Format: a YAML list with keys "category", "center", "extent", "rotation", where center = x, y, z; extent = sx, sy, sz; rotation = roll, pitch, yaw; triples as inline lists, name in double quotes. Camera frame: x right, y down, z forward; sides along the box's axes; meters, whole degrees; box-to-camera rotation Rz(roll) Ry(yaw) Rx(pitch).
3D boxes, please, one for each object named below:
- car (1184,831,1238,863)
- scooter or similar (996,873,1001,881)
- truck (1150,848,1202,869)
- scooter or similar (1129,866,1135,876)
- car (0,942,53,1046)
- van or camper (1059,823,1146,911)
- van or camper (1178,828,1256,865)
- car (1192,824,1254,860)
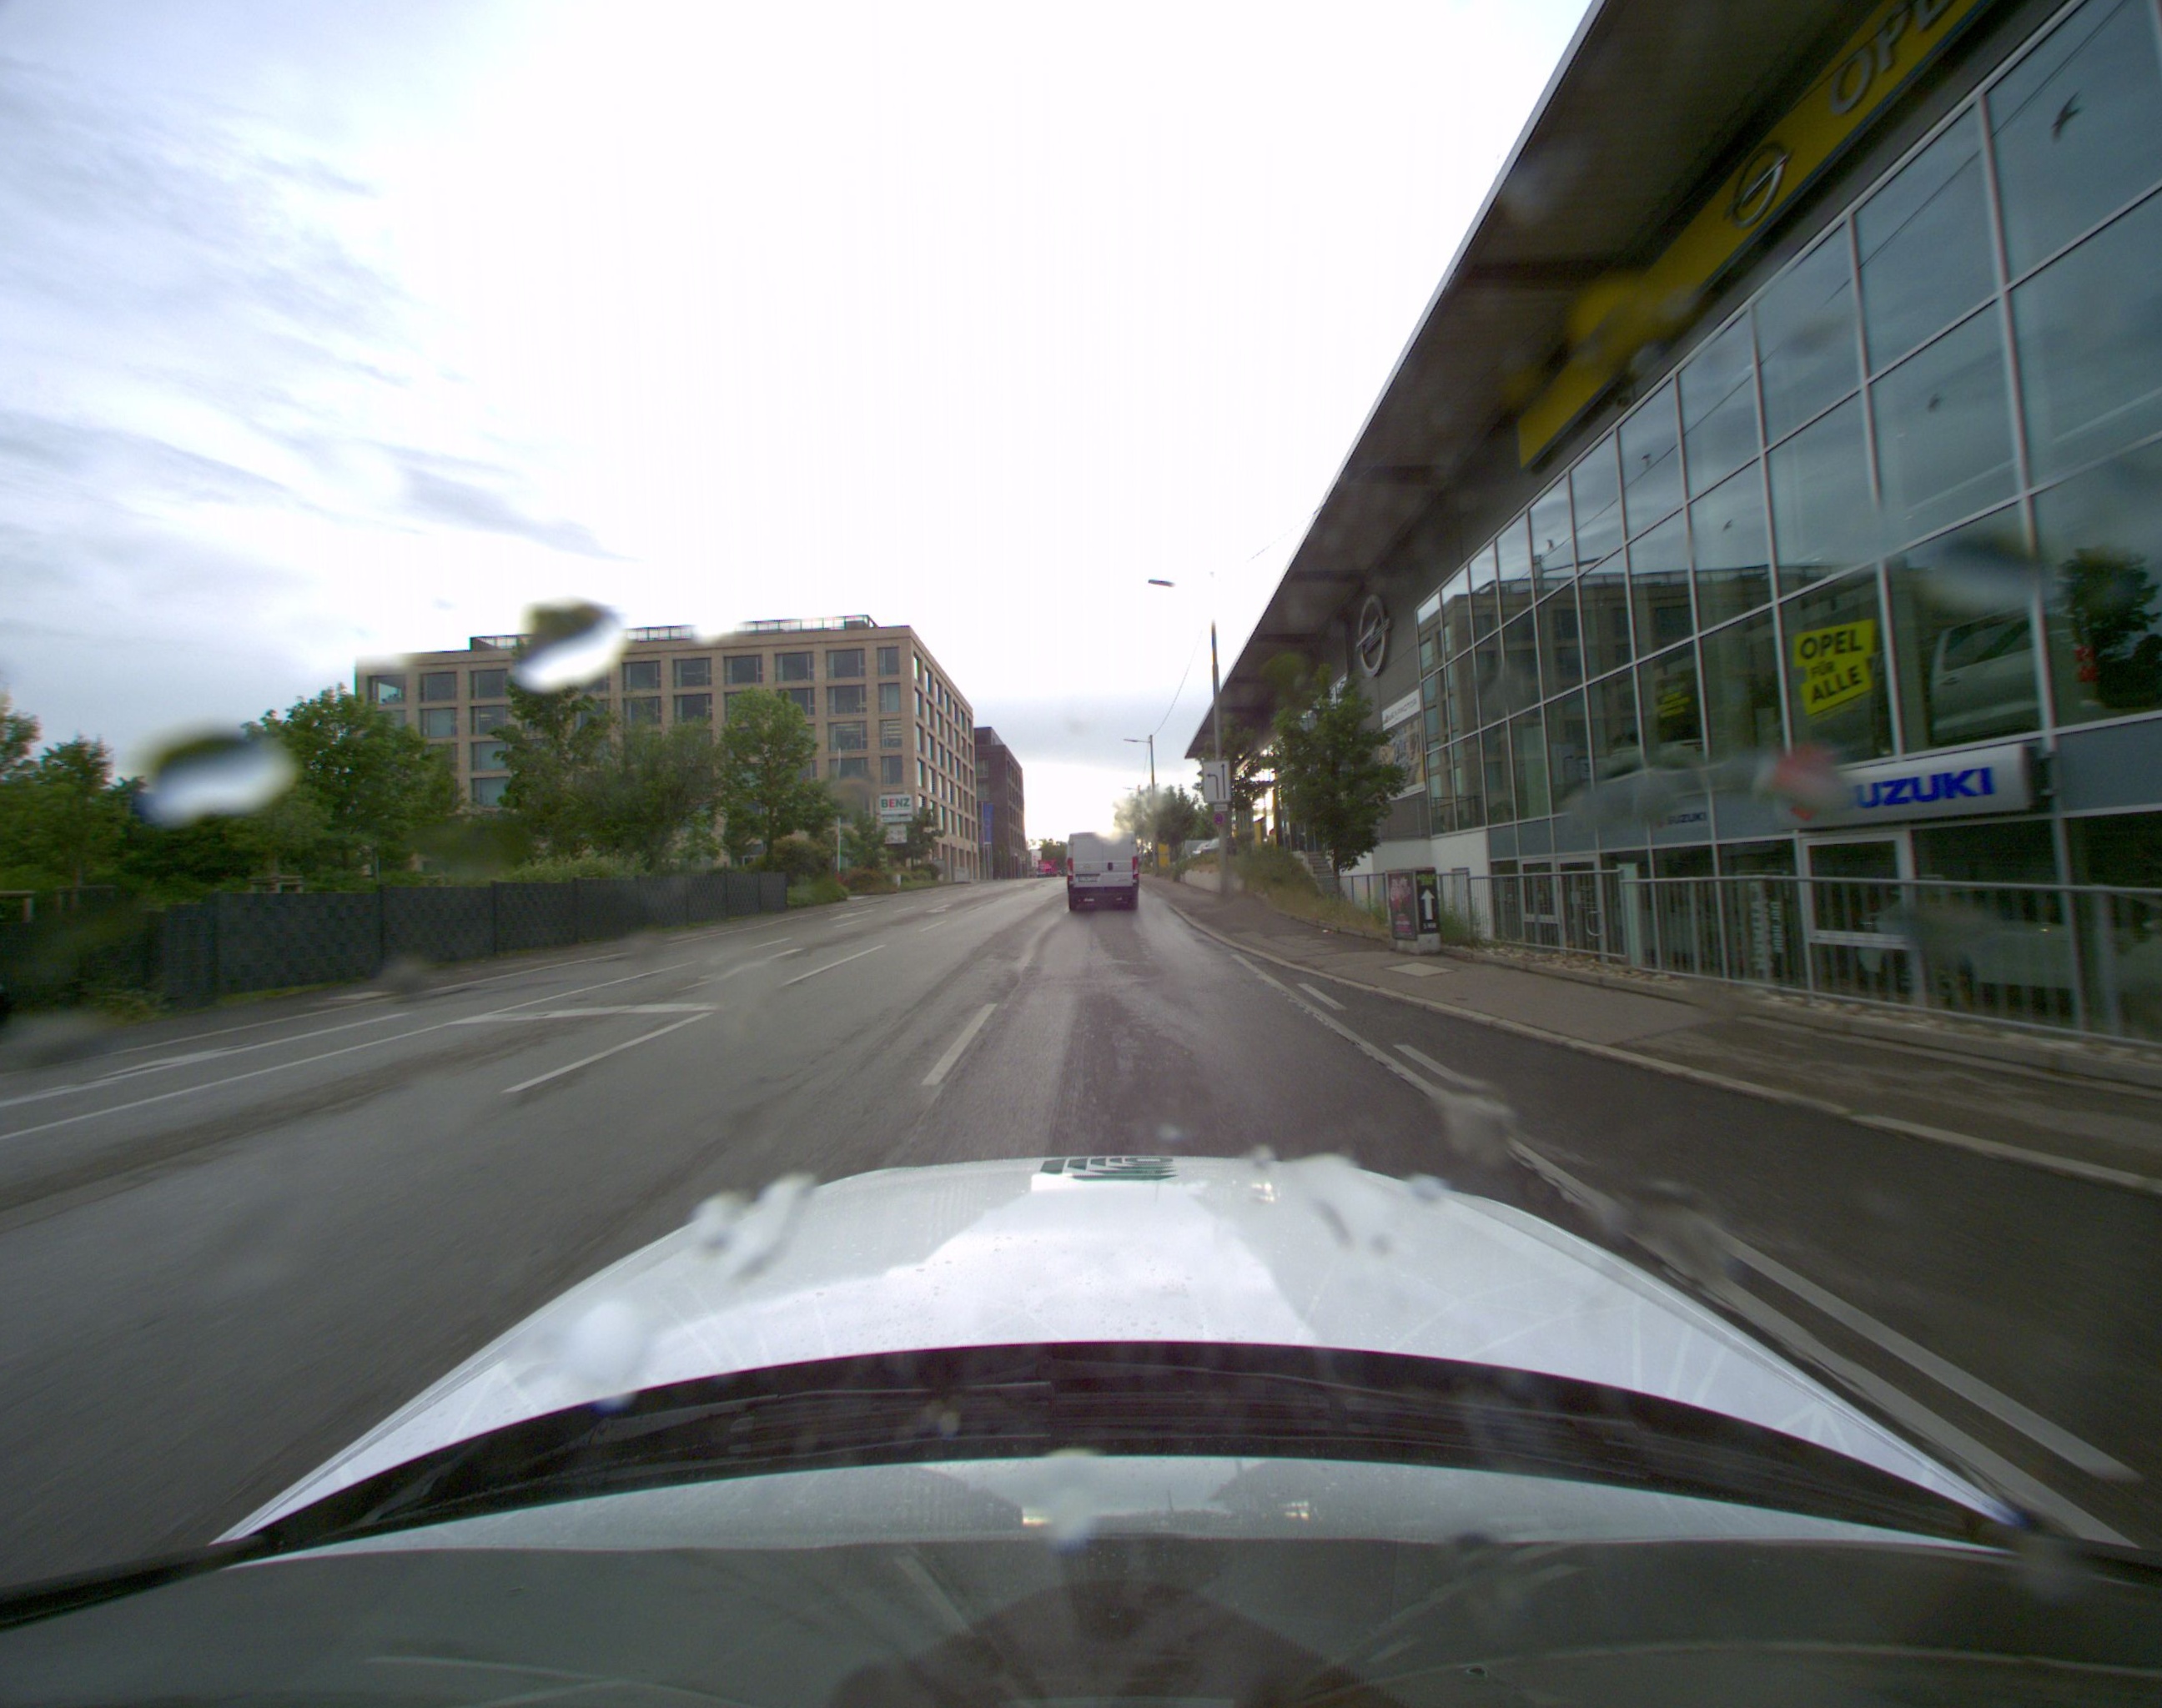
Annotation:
- category: "car"
  center: [7.961, -0.421, 49.558]
  extent: [1.975, 1.710, 4.604]
  rotation: [-5, -1, 25]
- category: "scooter or similar"
  center: [-11.469, 3.195, 113.321]
  extent: [0.349, 1.072, 1.429]
  rotation: [-2, -2, 3]
- category: "truck"
  center: [9.786, 0.417, 84.414]
  extent: [5.132, 2.013, 2.345]
  rotation: [-2, 0, -1]
- category: "scooter or similar"
  center: [7.541, 2.518, 120.812]
  extent: [0.436, 1.587, 1.264]
  rotation: [-1, 0, -20]
- category: "car"
  center: [-14.573, 1.713, 9.079]
  extent: [3.977, 1.163, 1.605]
  rotation: [-2, 0, -3]
- category: "van or camper"
  center: [0.713, 0.371, 25.014]
  extent: [2.330, 2.357, 5.203]
  rotation: [-2, 0, 3]
- category: "van or camper"
  center: [10.537, -0.560, 63.523]
  extent: [5.715, 2.724, 2.353]
  rotation: [-2, 0, 1]
- category: "car"
  center: [7.855, -0.651, 44.769]
  extent: [1.974, 1.710, 4.455]
  rotation: [-5, -1, 28]
